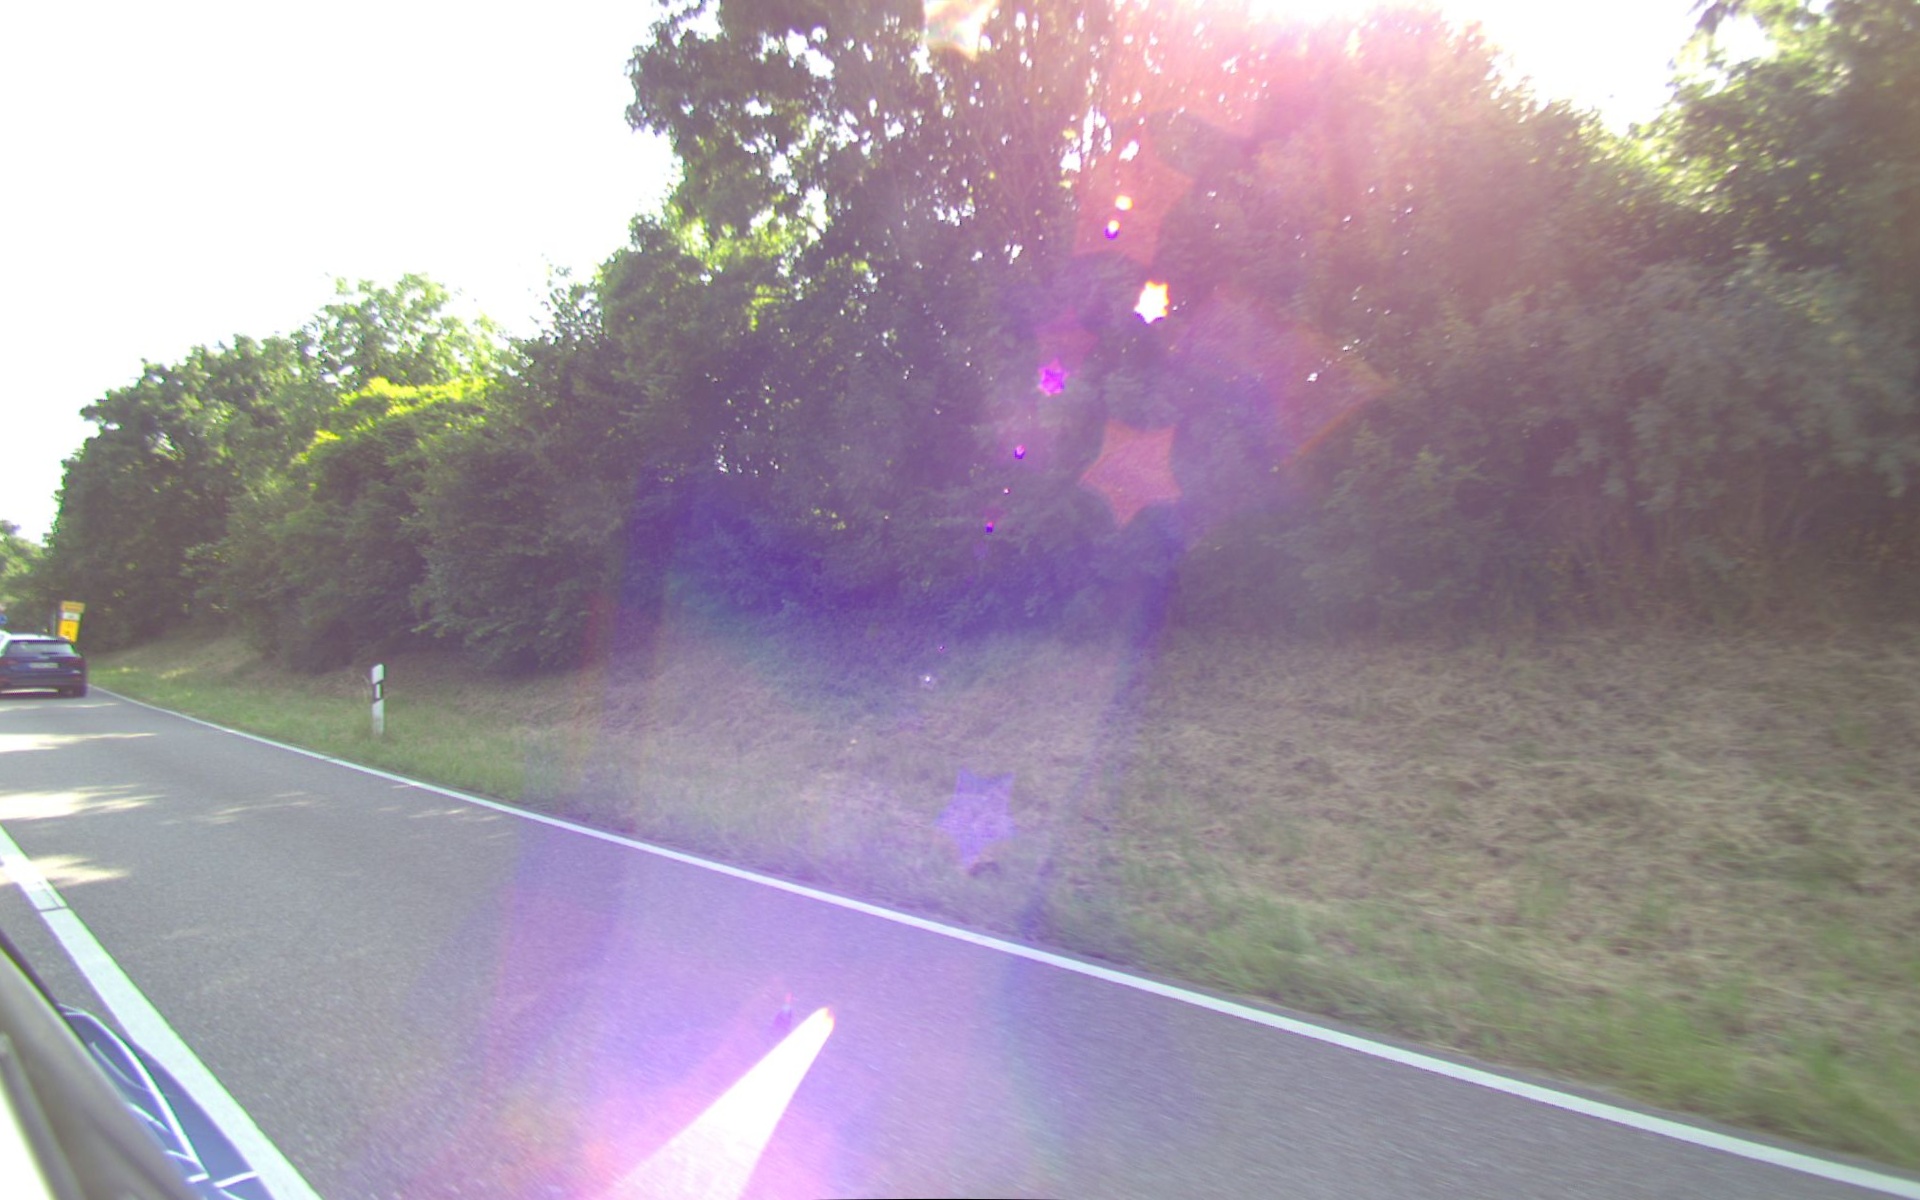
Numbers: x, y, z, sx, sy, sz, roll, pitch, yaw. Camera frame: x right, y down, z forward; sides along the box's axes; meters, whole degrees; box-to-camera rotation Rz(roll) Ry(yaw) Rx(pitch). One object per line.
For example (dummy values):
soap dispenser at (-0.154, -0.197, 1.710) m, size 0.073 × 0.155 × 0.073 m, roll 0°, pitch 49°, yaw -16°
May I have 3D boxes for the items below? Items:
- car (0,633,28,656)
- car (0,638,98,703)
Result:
car at (-68.810, 3.131, 71.375) m, size 1.926 × 1.614 × 4.619 m, roll -1°, pitch -2°, yaw 1°
car at (-22.353, 1.643, 24.233) m, size 4.573 × 1.434 × 1.851 m, roll -2°, pitch -4°, yaw 40°
